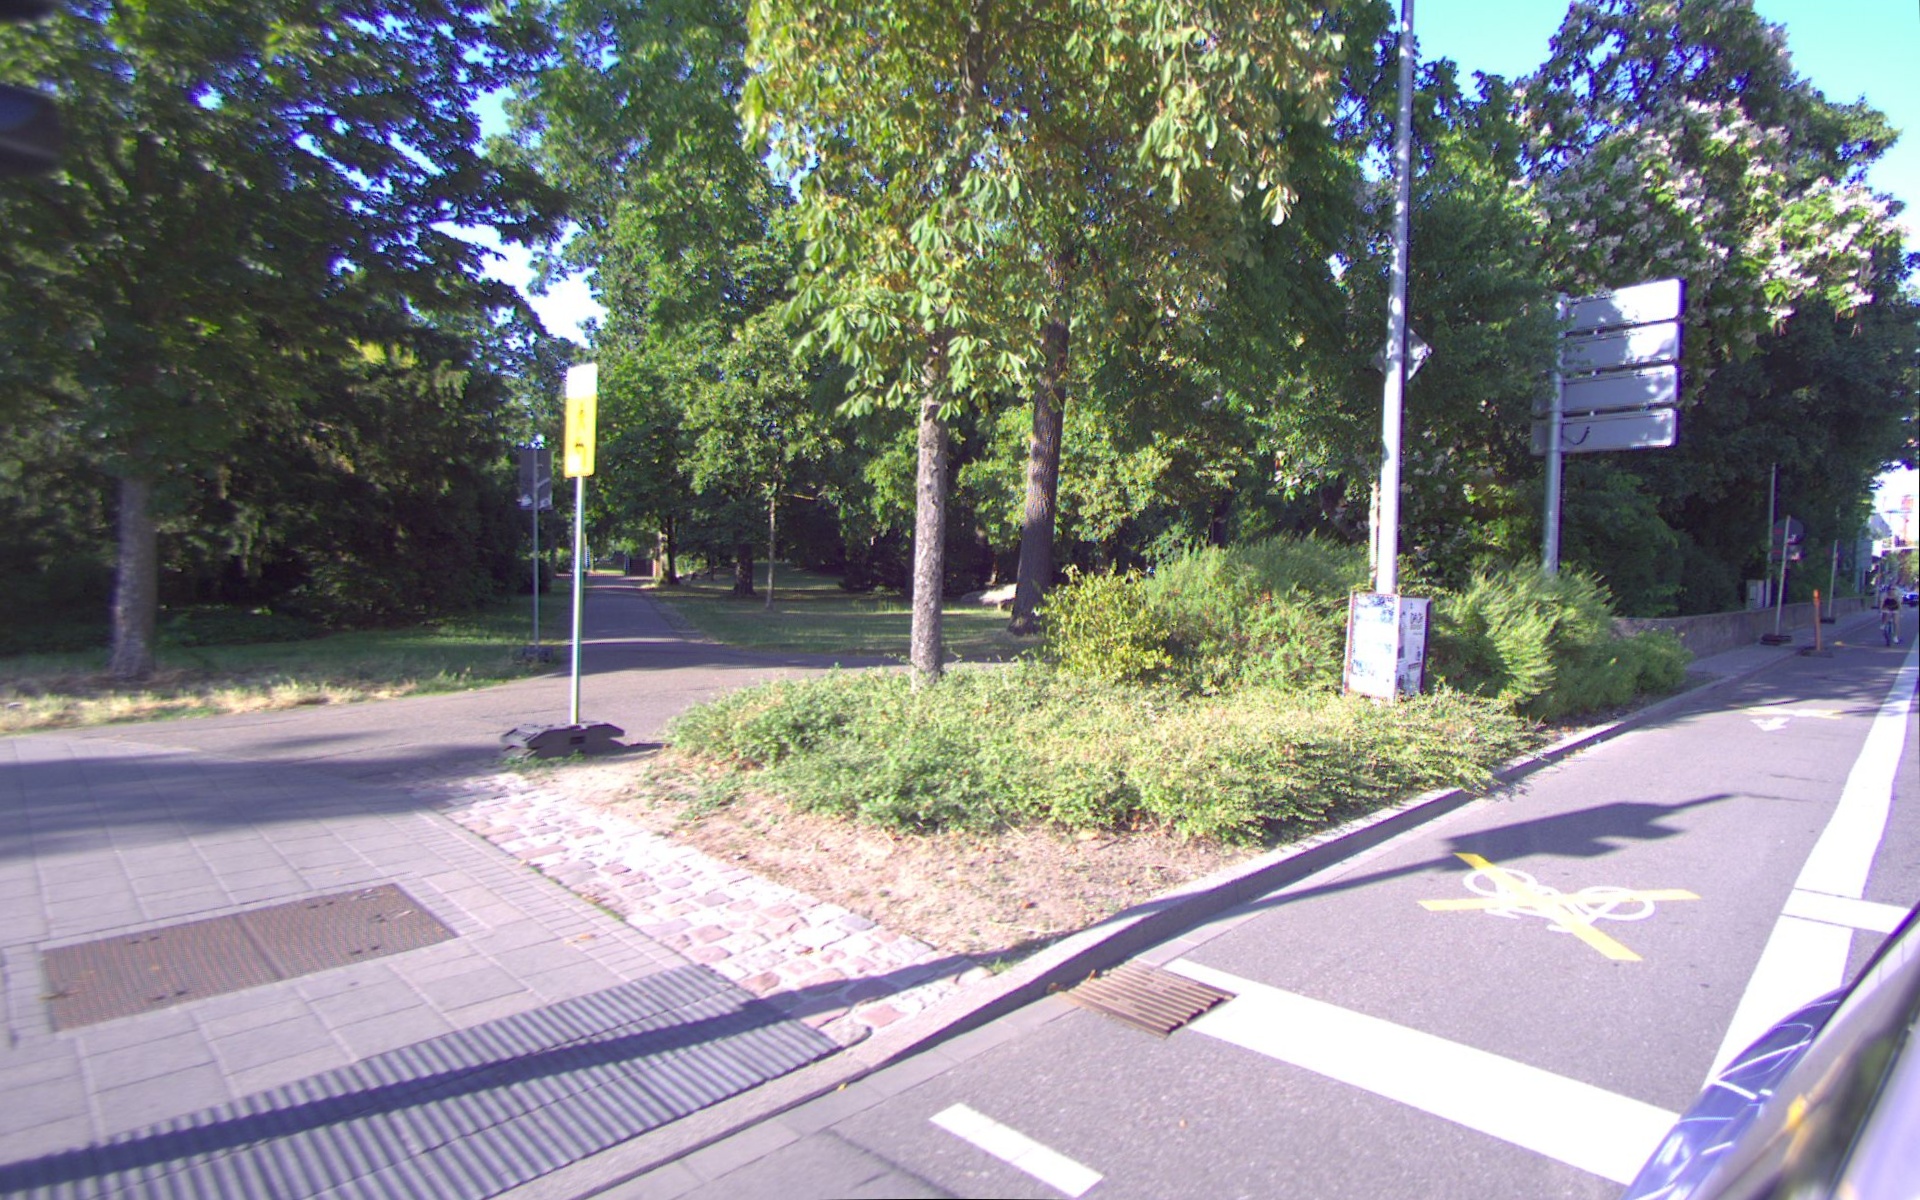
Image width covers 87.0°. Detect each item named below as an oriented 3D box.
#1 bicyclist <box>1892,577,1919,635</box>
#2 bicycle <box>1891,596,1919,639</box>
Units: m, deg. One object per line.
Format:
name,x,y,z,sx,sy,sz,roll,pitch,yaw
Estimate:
bicyclist,24.044,0.146,25.673,0.515,1.424,0.792,2,2,44
bicycle,23.985,0.429,25.633,0.505,1.037,1.481,2,2,45
